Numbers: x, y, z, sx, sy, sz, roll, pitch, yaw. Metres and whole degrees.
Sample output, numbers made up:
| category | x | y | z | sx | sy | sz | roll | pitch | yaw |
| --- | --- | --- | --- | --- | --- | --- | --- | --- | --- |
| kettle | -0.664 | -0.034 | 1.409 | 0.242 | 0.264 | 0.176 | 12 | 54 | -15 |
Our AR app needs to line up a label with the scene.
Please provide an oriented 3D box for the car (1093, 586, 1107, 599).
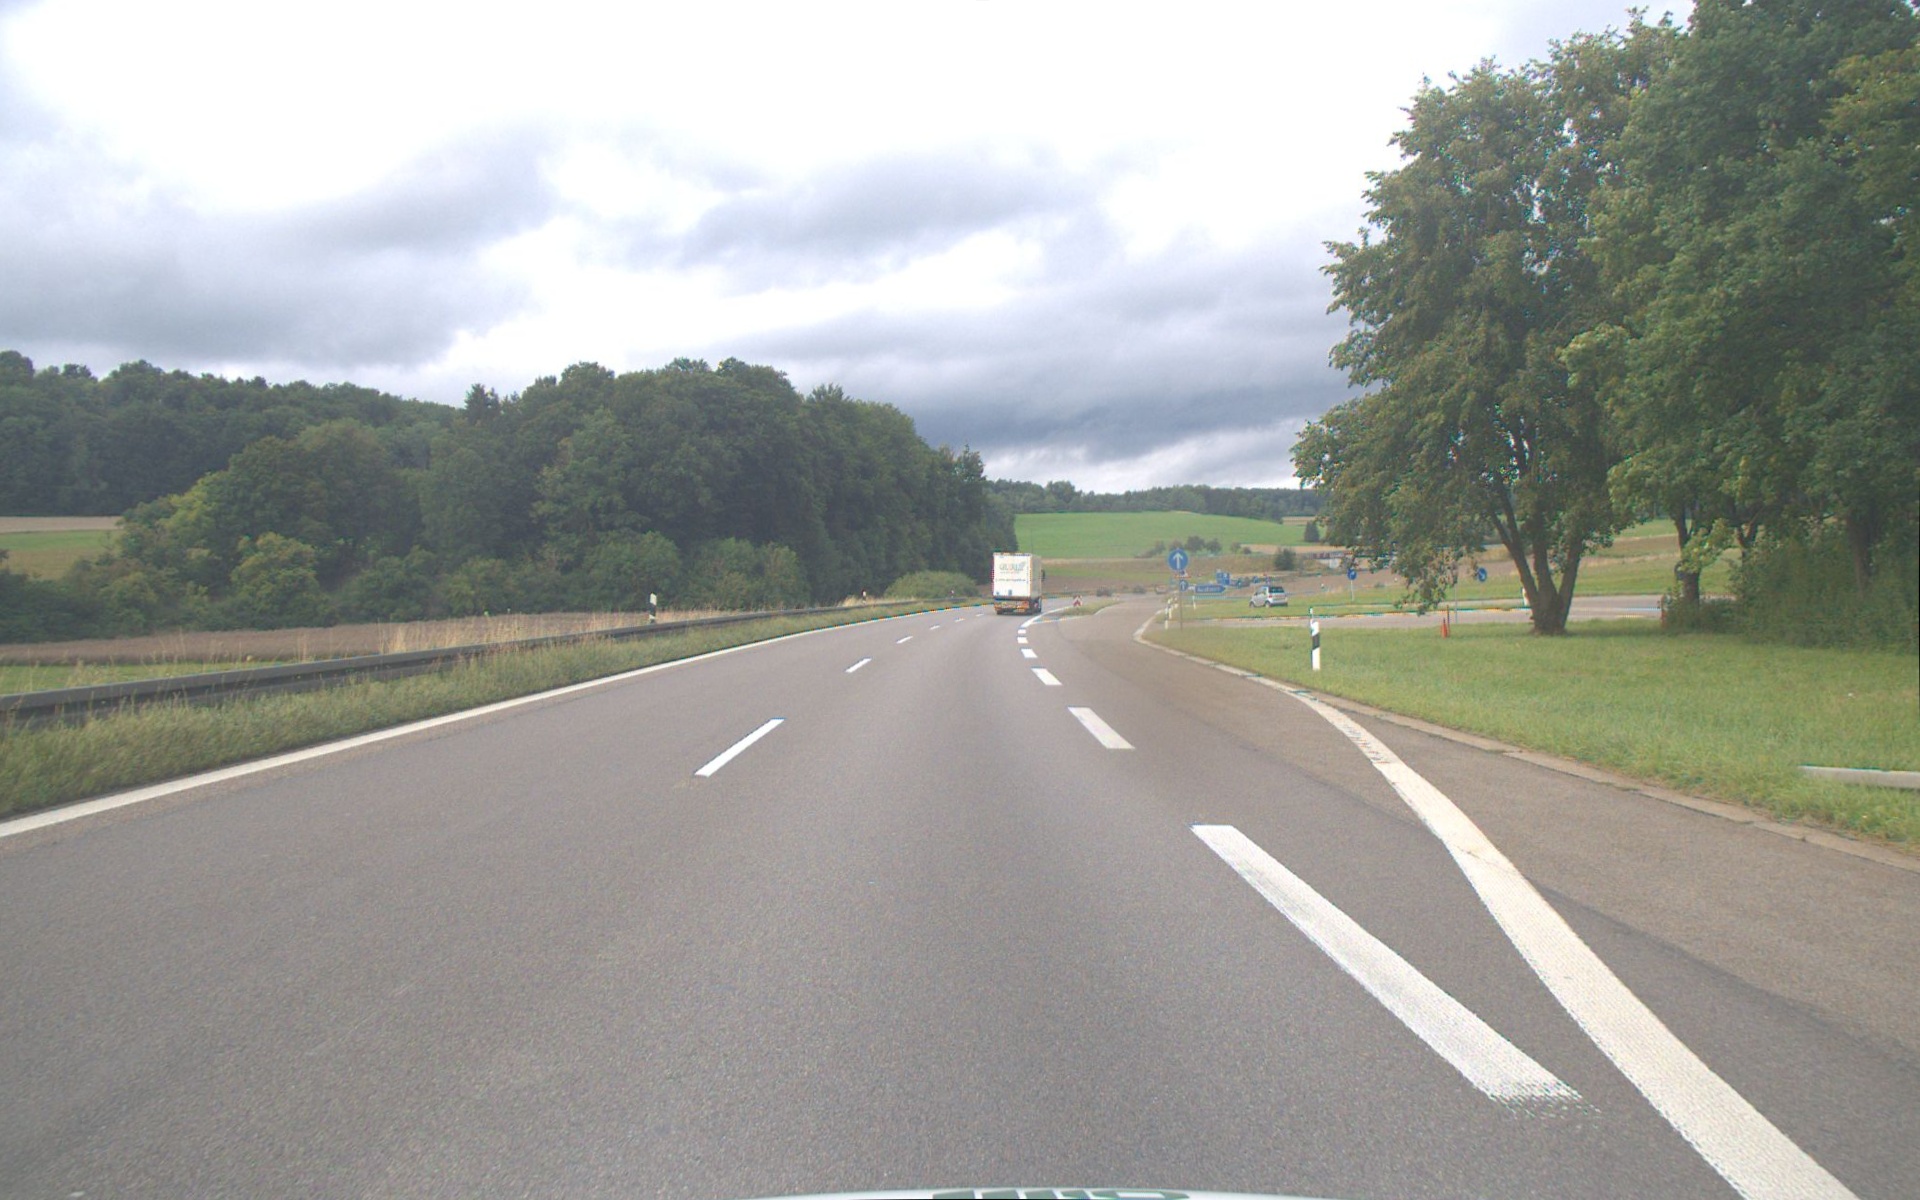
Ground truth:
| category | x | y | z | sx | sy | sz | roll | pitch | yaw |
| --- | --- | --- | --- | --- | --- | --- | --- | --- | --- |
| car | 21.044 | -1.109 | 247.738 | 1.862 | 1.827 | 4.003 | 0 | -1 | 8 |

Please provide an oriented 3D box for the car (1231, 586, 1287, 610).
| category | x | y | z | sx | sy | sz | roll | pitch | yaw |
| --- | --- | --- | --- | --- | --- | --- | --- | --- | --- |
| car | 20.521 | -0.151 | 113.714 | 1.756 | 1.579 | 3.965 | -1 | 1 | -27 |

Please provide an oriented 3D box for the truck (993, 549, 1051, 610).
| category | x | y | z | sx | sy | sz | roll | pitch | yaw |
| --- | --- | --- | --- | --- | --- | --- | --- | --- | --- |
| truck | 4.590 | -1.480 | 120.337 | 3.708 | 4.204 | 8.270 | 1 | 1 | 5 |

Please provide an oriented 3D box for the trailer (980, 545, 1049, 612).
| category | x | y | z | sx | sy | sz | roll | pitch | yaw |
| --- | --- | --- | --- | --- | --- | --- | --- | --- | --- |
| trailer | 3.903 | -1.423 | 112.986 | 3.725 | 4.247 | 14.818 | 0 | 0 | 6 |
